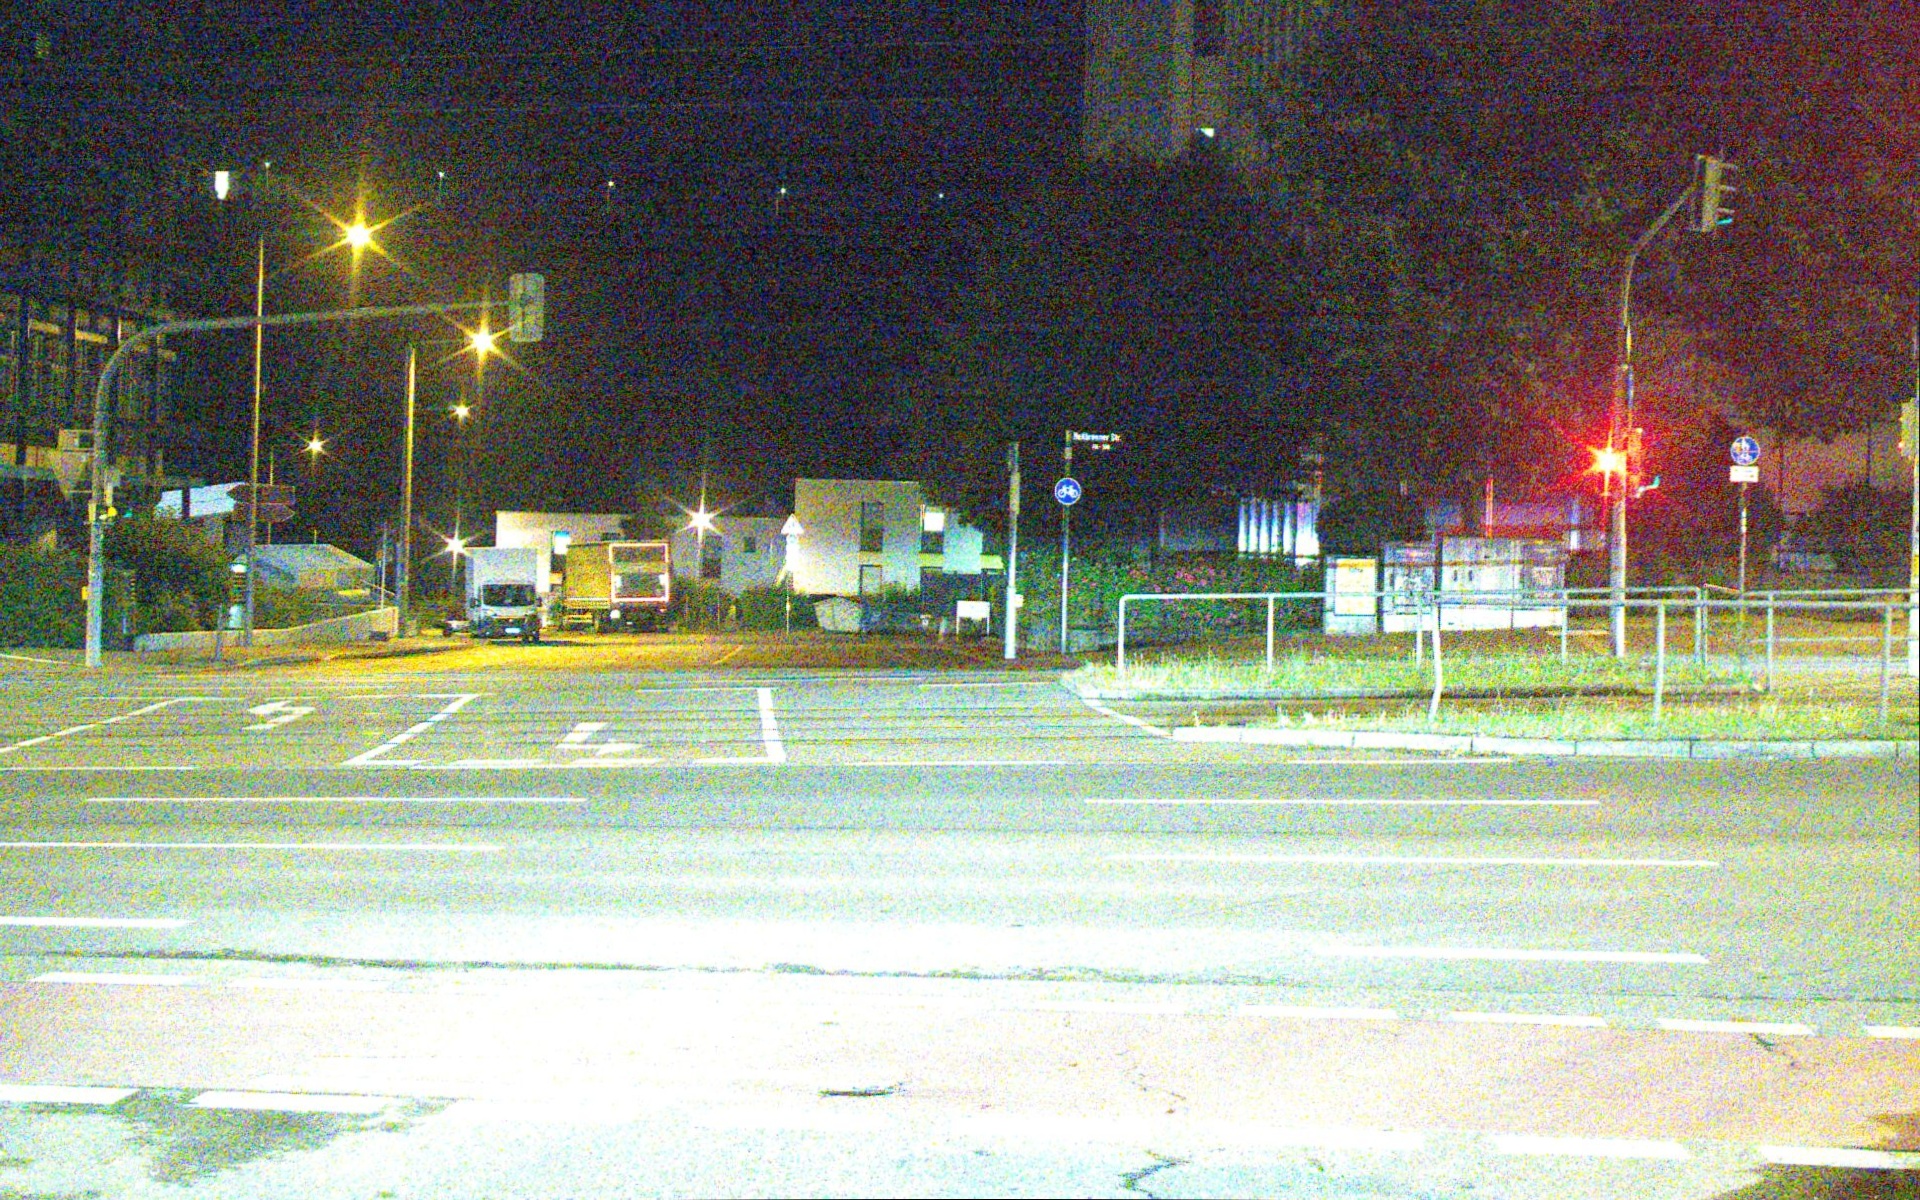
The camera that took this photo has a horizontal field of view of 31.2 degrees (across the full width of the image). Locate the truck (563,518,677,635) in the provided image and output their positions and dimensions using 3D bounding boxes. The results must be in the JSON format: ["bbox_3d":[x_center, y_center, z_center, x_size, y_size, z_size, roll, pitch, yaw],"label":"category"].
[{"bbox_3d":[-14.778,-1.002,148.850,3.359,4.826,7.908,1,0,-17],"label":"truck"}]

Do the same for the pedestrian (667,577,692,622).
[{"bbox_3d":[-12.028,-0.014,147.475,0.849,1.905,1.007,1,0,-18],"label":"pedestrian"}]

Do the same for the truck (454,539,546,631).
[{"bbox_3d":[-16.062,-0.516,119.695,2.417,3.078,6.439,1,0,-14],"label":"truck"}]
